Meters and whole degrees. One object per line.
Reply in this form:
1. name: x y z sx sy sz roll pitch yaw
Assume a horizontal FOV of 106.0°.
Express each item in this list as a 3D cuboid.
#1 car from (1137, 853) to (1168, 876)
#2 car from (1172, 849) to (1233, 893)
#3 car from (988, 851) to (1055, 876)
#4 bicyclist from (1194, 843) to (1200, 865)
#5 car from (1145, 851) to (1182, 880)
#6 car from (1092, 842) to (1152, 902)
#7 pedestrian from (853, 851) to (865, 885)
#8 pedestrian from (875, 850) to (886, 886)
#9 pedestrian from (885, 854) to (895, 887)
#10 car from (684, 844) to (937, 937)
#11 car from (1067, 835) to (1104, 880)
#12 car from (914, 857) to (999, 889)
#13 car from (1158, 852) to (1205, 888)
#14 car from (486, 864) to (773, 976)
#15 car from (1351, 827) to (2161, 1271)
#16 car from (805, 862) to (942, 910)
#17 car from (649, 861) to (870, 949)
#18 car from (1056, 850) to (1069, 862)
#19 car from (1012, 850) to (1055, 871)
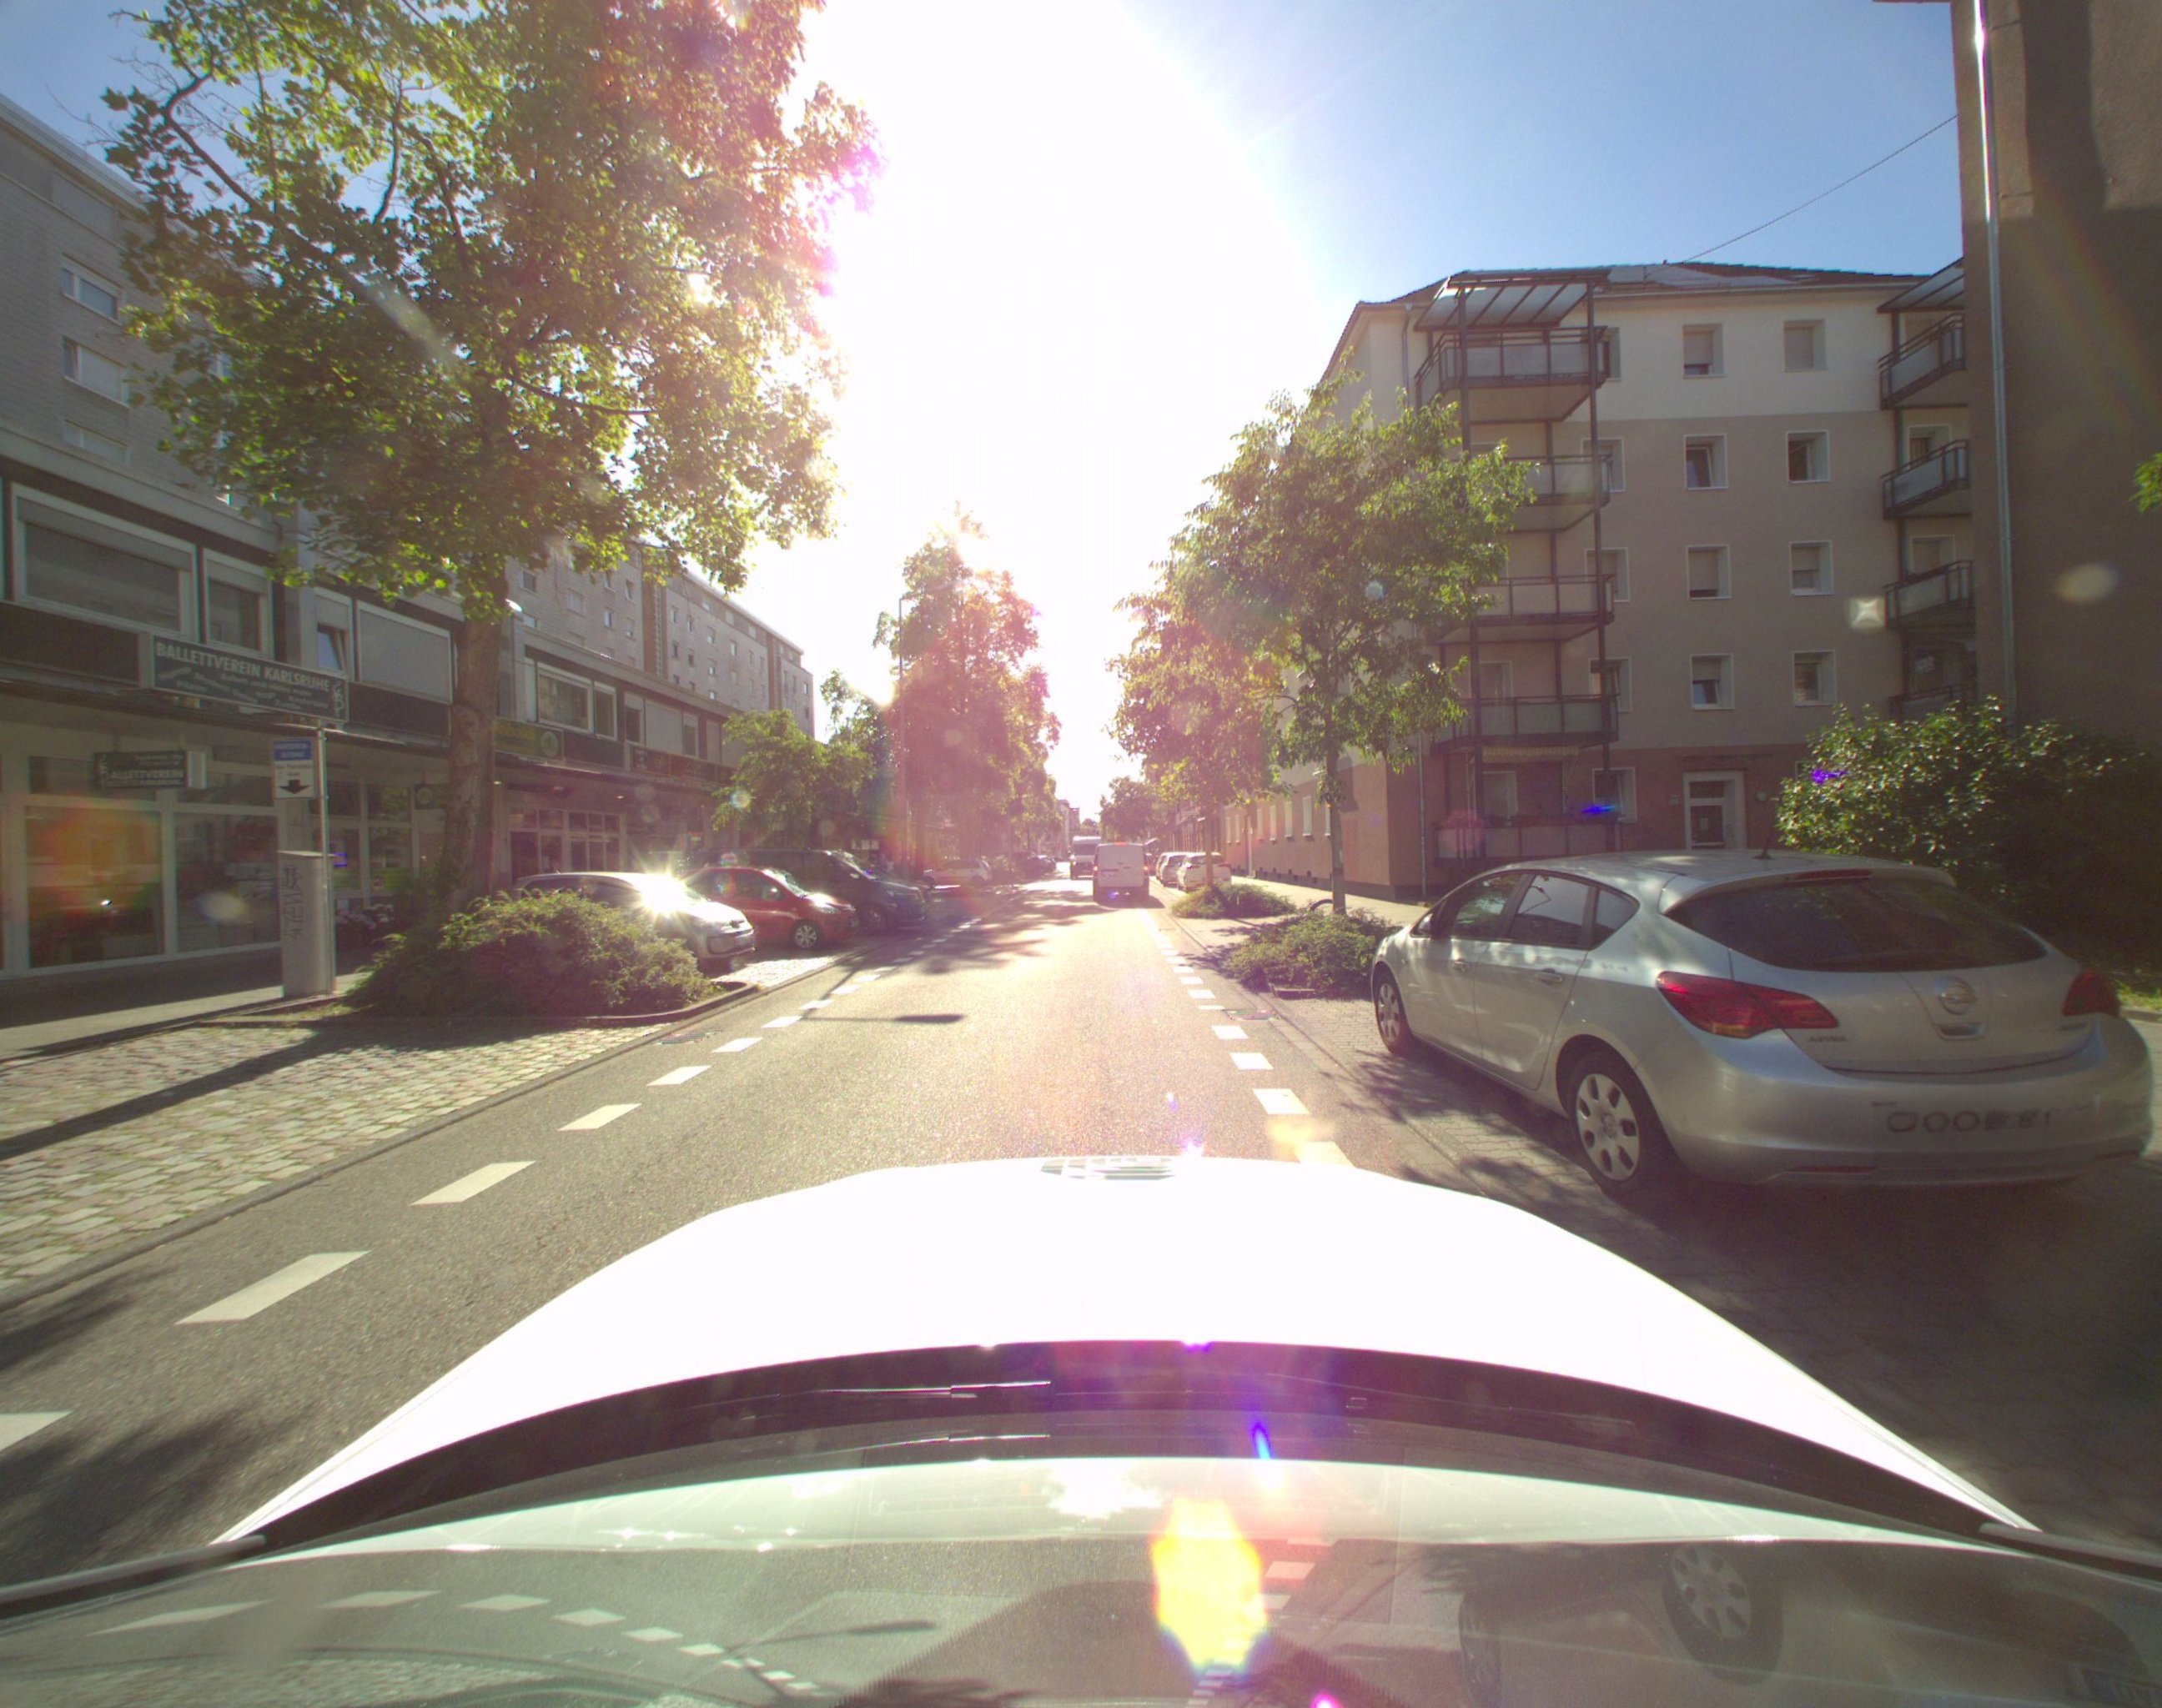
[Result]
1. car: 4.750 0.671 54.722 1.732 1.451 4.000 -2 0 0
2. car: 4.651 0.629 31.557 1.726 1.486 3.794 -3 0 0
3. car: -4.799 0.759 66.227 5.274 1.974 2.015 0 0 0
4. bicyclist: 7.912 -0.019 55.657 0.359 1.477 0.531 -1 -1 3
5. car: 4.478 0.587 44.765 1.703 1.480 3.711 -2 0 1
6. car: 1.434 0.562 28.508 1.913 1.914 4.891 -1 0 3
7. pedestrian: -11.767 0.734 43.132 0.483 1.782 0.427 -2 0 -2
8. pedestrian: -10.694 0.734 43.437 0.389 1.934 0.361 -2 0 2
9. pedestrian: -10.070 0.869 43.019 0.389 1.705 0.502 0 -1 2
10. car: -5.931 0.772 18.289 5.013 1.938 1.873 0 0 0
11. car: 0.364 0.189 49.715 1.986 2.474 6.606 -2 0 2
12. car: -6.280 0.947 41.286 3.974 1.457 1.860 -2 0 0
13. car: 4.585 0.708 37.652 1.778 1.460 4.520 -3 0 3
14. car: -6.907 0.965 12.657 3.567 1.561 1.676 0 0 7
15. car: 3.077 0.686 4.793 1.709 1.454 4.001 -2 -1 2
16. car: -6.592 1.008 26.123 3.904 1.450 1.710 0 0 0
17. car: -6.034 0.935 15.566 3.545 1.554 1.661 0 0 0
18. car: -3.322 0.379 143.944 1.986 2.013 4.002 -2 0 2
19. car: -4.600 0.646 79.228 3.967 2.013 2.003 0 0 5
